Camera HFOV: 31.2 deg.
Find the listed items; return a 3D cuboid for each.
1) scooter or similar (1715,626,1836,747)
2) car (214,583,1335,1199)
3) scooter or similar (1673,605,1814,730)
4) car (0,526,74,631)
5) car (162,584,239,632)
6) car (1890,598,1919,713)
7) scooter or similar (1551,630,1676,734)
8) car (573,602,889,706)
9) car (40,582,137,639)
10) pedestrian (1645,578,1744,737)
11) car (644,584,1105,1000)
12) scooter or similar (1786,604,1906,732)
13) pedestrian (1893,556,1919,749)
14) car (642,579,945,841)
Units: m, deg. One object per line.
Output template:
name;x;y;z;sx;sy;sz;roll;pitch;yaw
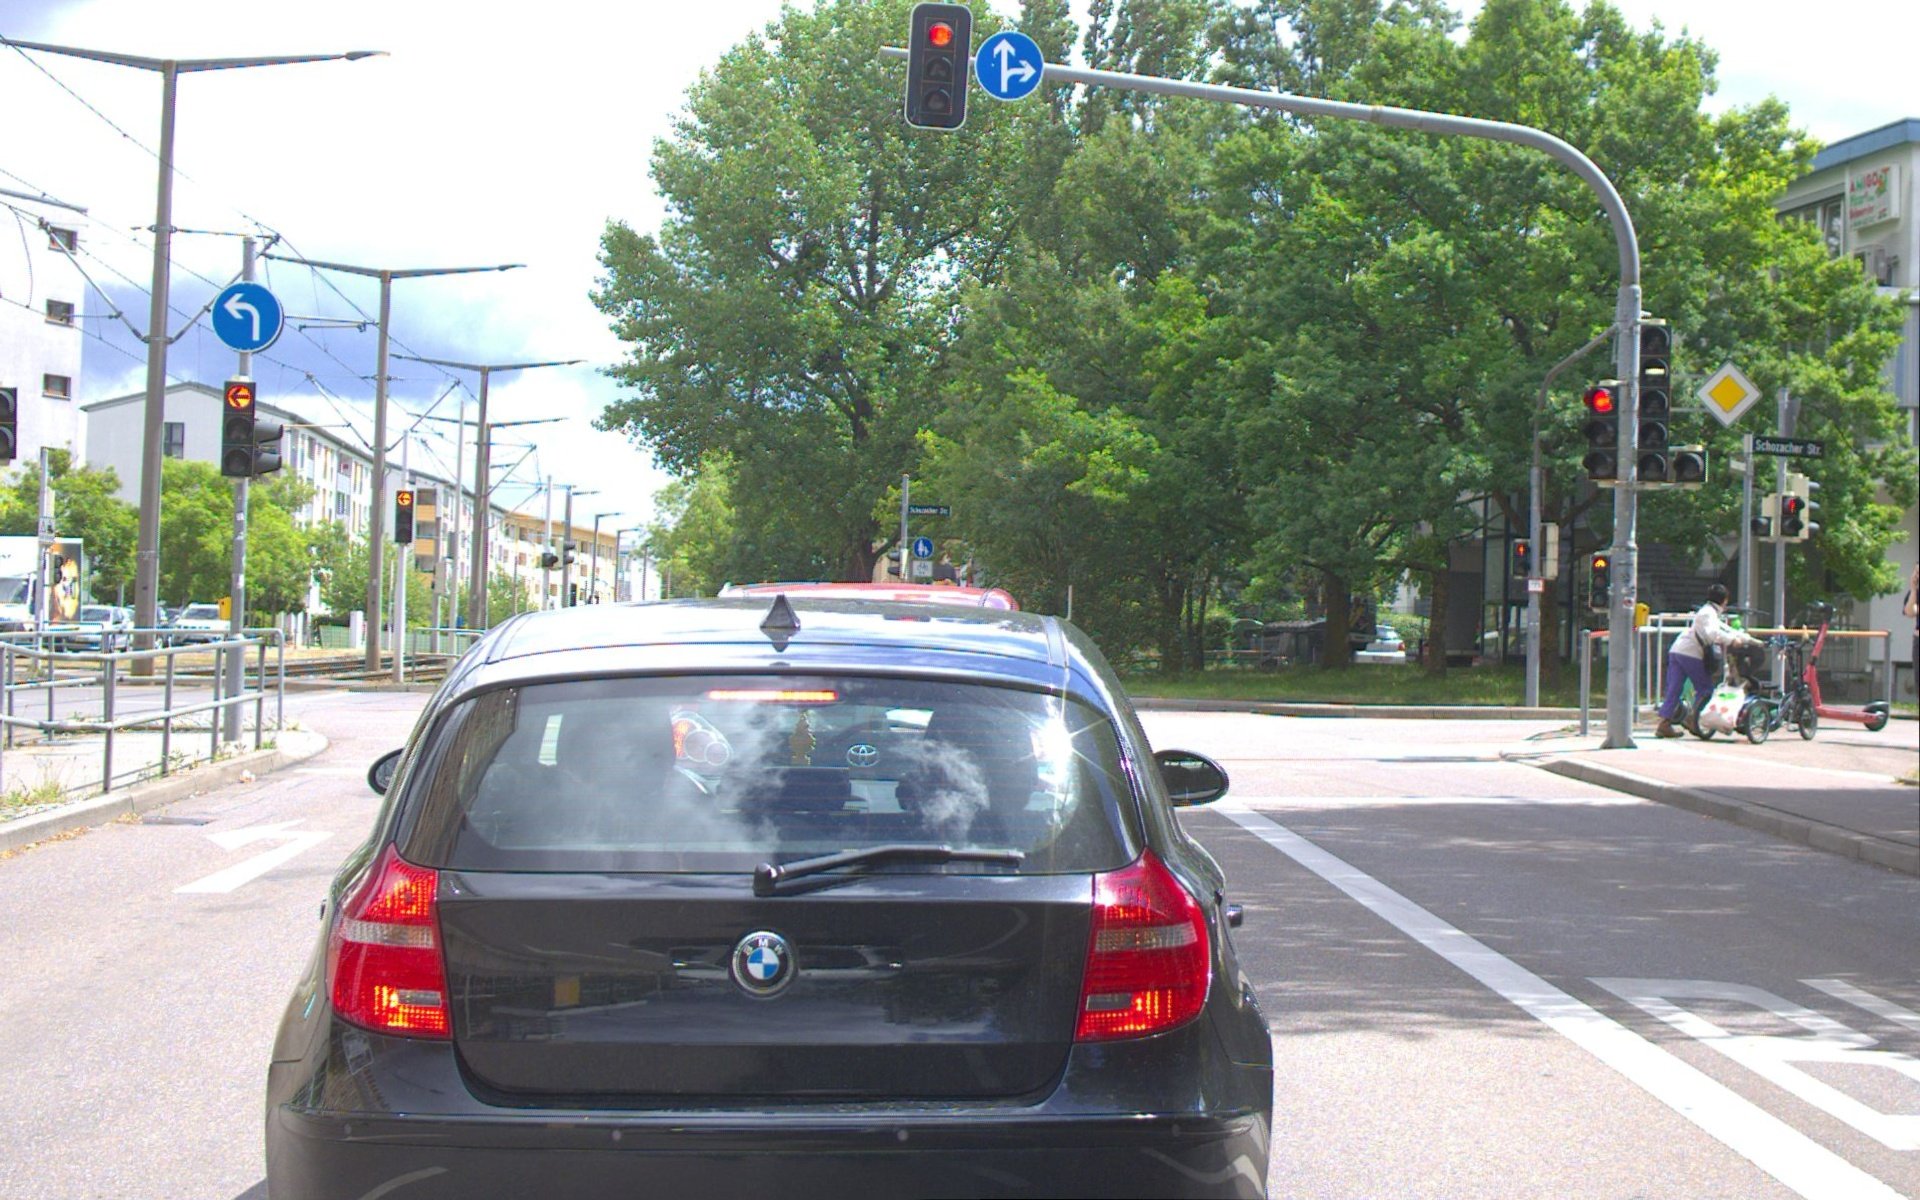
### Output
scooter or similar;7.498;0.779;31.560;0.410;1.047;1.782;1;1;36
car;-0.243;0.694;6.856;1.654;1.414;3.517;1;1;1
scooter or similar;7.533;0.649;33.066;1.287;1.185;0.385;0;0;-16
car;-24.601;-0.572;88.848;2.139;2.631;5.359;1;0;-2
car;-26.429;0.274;119.722;1.966;1.590;4.000;1;0;-3
car;15.142;0.791;48.339;3.576;1.595;1.712;1;0;-12
scooter or similar;6.075;0.759;31.951;1.119;0.954;0.300;0;0;-16
car;-3.262;0.754;48.605;4.322;1.389;1.713;1;0;-8
car;-25.485;0.289;100.657;1.966;1.590;4.000;1;0;-3
pedestrian;6.750;0.516;31.601;0.865;1.438;0.798;1;0;12
car;-0.293;0.662;13.760;1.594;1.414;3.517;1;1;0
scooter or similar;8.749;0.667;33.960;1.106;1.253;0.332;0;0;-12
pedestrian;9.172;0.510;32.091;0.760;1.784;0.568;4;0;16
car;-0.984;0.600;20.750;1.654;1.414;3.517;1;1;-2
